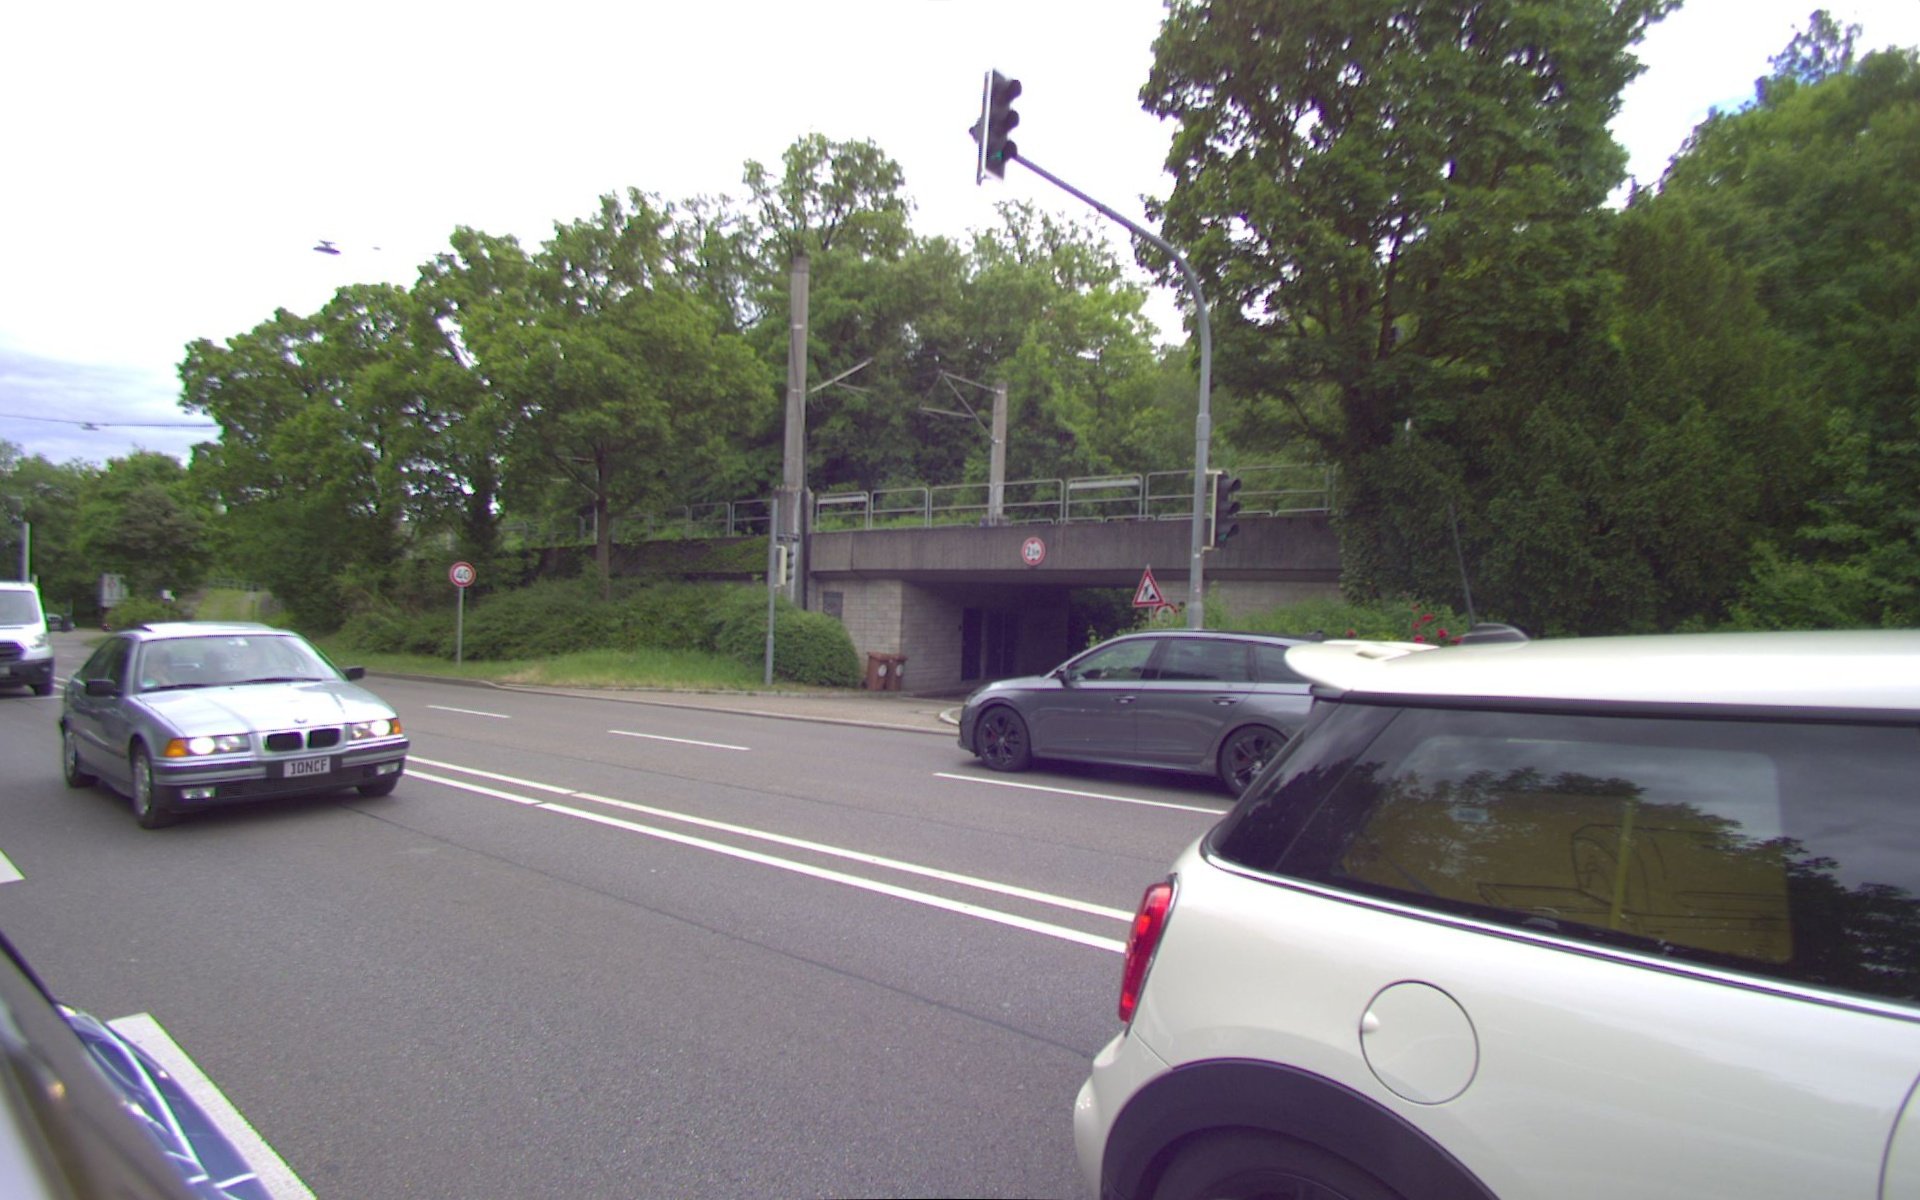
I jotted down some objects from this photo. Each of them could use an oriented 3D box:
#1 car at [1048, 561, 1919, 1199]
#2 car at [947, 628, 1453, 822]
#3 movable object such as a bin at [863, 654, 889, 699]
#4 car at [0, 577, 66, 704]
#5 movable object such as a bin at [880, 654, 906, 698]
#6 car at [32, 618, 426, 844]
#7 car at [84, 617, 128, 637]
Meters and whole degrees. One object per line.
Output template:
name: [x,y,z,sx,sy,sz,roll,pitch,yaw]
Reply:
car: [2.119,0.669,1.269,3.729,1.434,1.667,-1,-1,40]
car: [2.057,0.981,9.507,4.358,1.406,1.662,-1,-3,41]
movable object such as a bin: [-2.063,1.881,24.849,0.503,1.071,0.414,-1,-3,36]
car: [-19.414,0.758,19.635,6.454,2.217,2.256,-1,-1,41]
movable object such as a bin: [-1.682,1.902,25.384,0.503,1.071,0.414,-1,-3,36]
car: [-6.140,0.862,8.317,4.179,1.401,1.643,-1,-1,40]
car: [-88.832,2.766,105.324,1.966,2.029,4.010,1,-2,-14]
